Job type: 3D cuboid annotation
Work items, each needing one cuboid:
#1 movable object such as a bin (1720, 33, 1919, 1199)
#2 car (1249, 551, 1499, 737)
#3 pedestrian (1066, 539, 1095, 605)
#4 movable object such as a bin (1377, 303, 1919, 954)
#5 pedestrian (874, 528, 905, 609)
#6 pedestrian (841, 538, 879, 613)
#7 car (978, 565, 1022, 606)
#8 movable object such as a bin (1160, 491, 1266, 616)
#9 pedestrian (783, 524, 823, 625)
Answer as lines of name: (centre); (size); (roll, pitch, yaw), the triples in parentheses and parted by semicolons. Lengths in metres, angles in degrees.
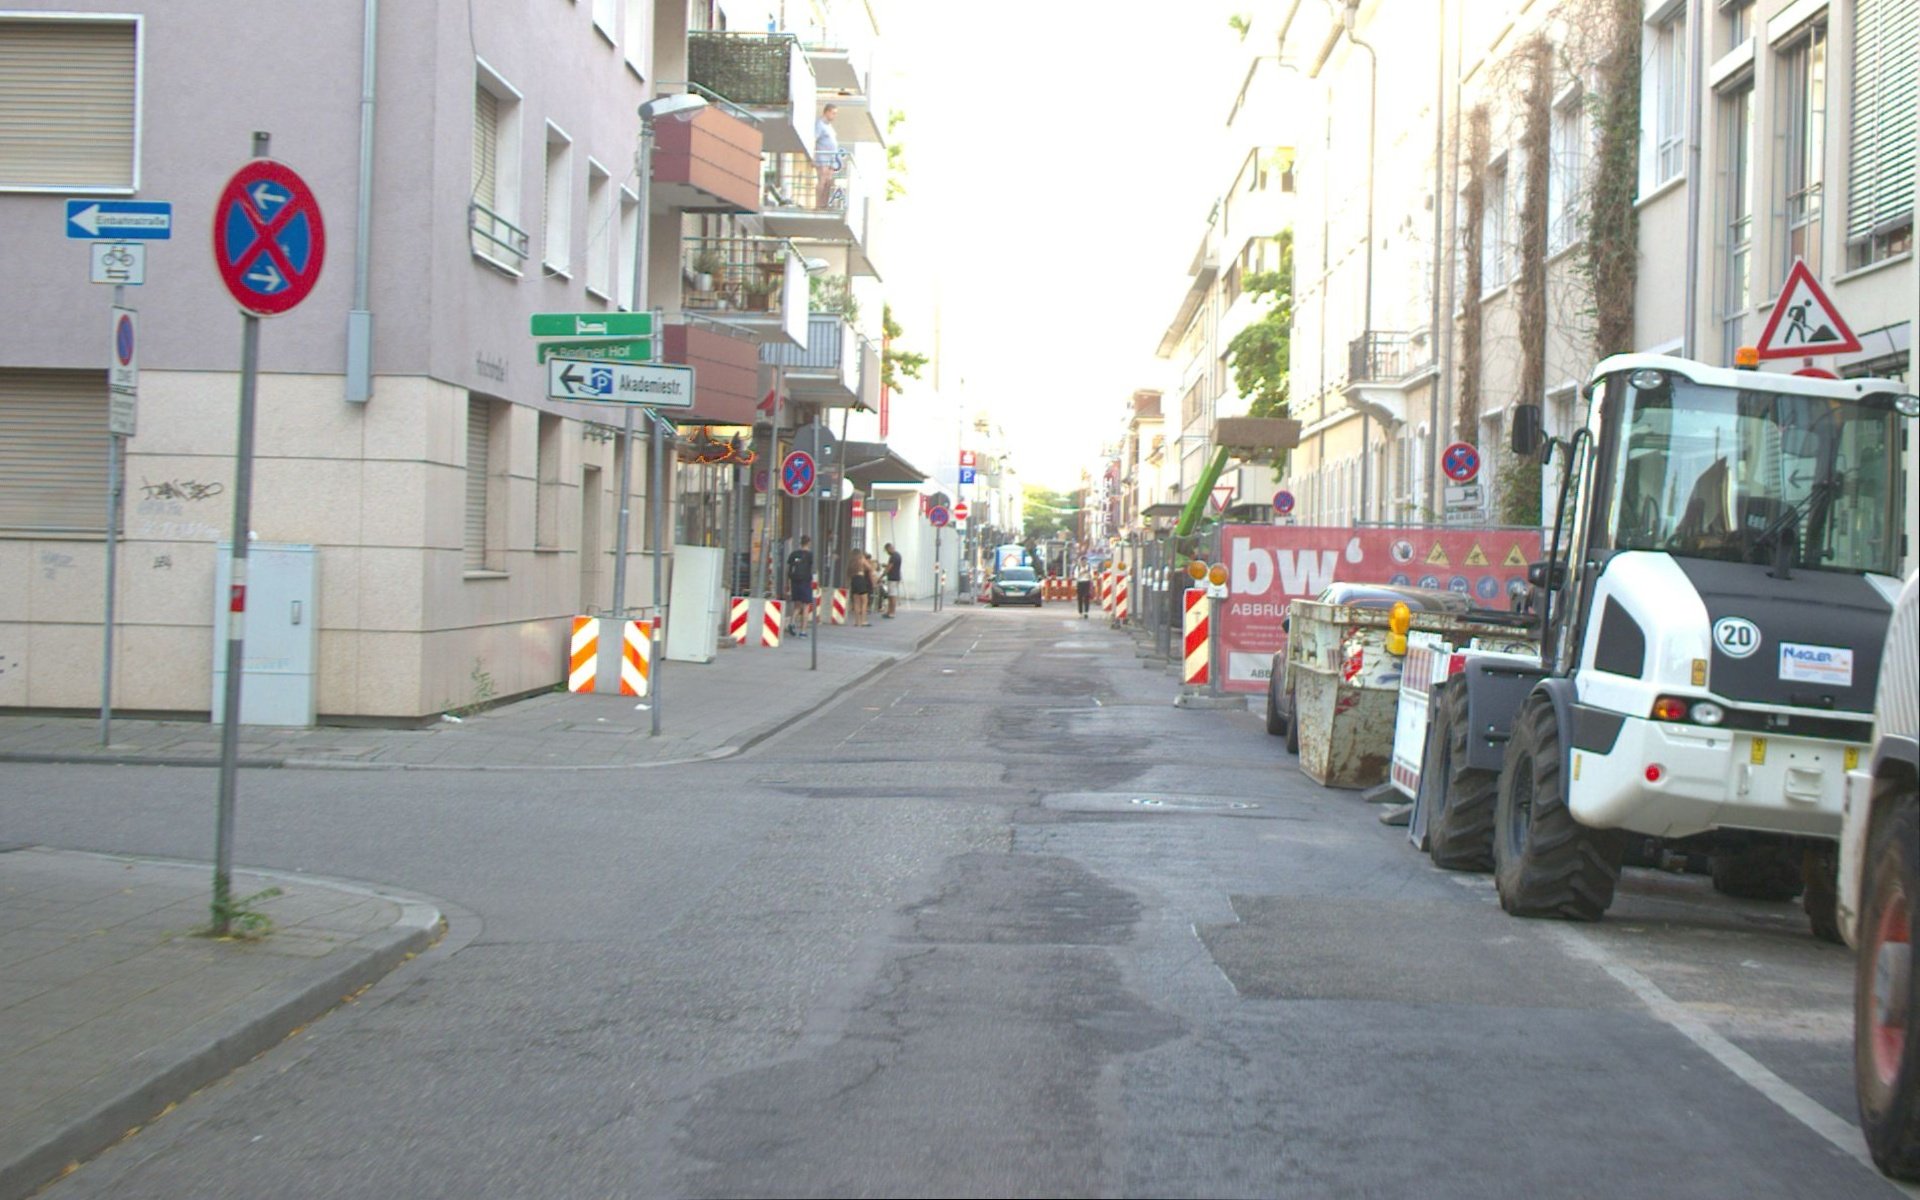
movable object such as a bin: (3.036, 0.057, 7.962); (1.796, 2.625, 4.110); (1, 1, 3)
car: (3.504, 0.323, 29.770); (1.693, 1.401, 4.479); (2, 1, 2)
pedestrian: (3.238, -0.753, 92.488); (0.720, 1.734, 0.647); (1, 1, -1)
movable object such as a bin: (3.416, 0.079, 16.671); (2.166, 2.587, 5.543); (2, 1, 1)
pedestrian: (-1.675, -0.750, 81.298); (0.572, 1.880, 0.656); (2, 1, 10)
pedestrian: (-2.111, -0.510, 72.298); (0.645, 1.559, 0.631); (1, 1, -13)
car: (1.428, -0.537, 122.173); (1.474, 1.393, 3.332); (1, 1, 1)
movable object such as a bin: (6.621, -1.266, 90.404); (2.470, 3.120, 4.297); (2, 2, 2)
pedestrian: (-2.828, -0.456, 61.985); (0.629, 1.802, 0.647); (1, 1, 3)
